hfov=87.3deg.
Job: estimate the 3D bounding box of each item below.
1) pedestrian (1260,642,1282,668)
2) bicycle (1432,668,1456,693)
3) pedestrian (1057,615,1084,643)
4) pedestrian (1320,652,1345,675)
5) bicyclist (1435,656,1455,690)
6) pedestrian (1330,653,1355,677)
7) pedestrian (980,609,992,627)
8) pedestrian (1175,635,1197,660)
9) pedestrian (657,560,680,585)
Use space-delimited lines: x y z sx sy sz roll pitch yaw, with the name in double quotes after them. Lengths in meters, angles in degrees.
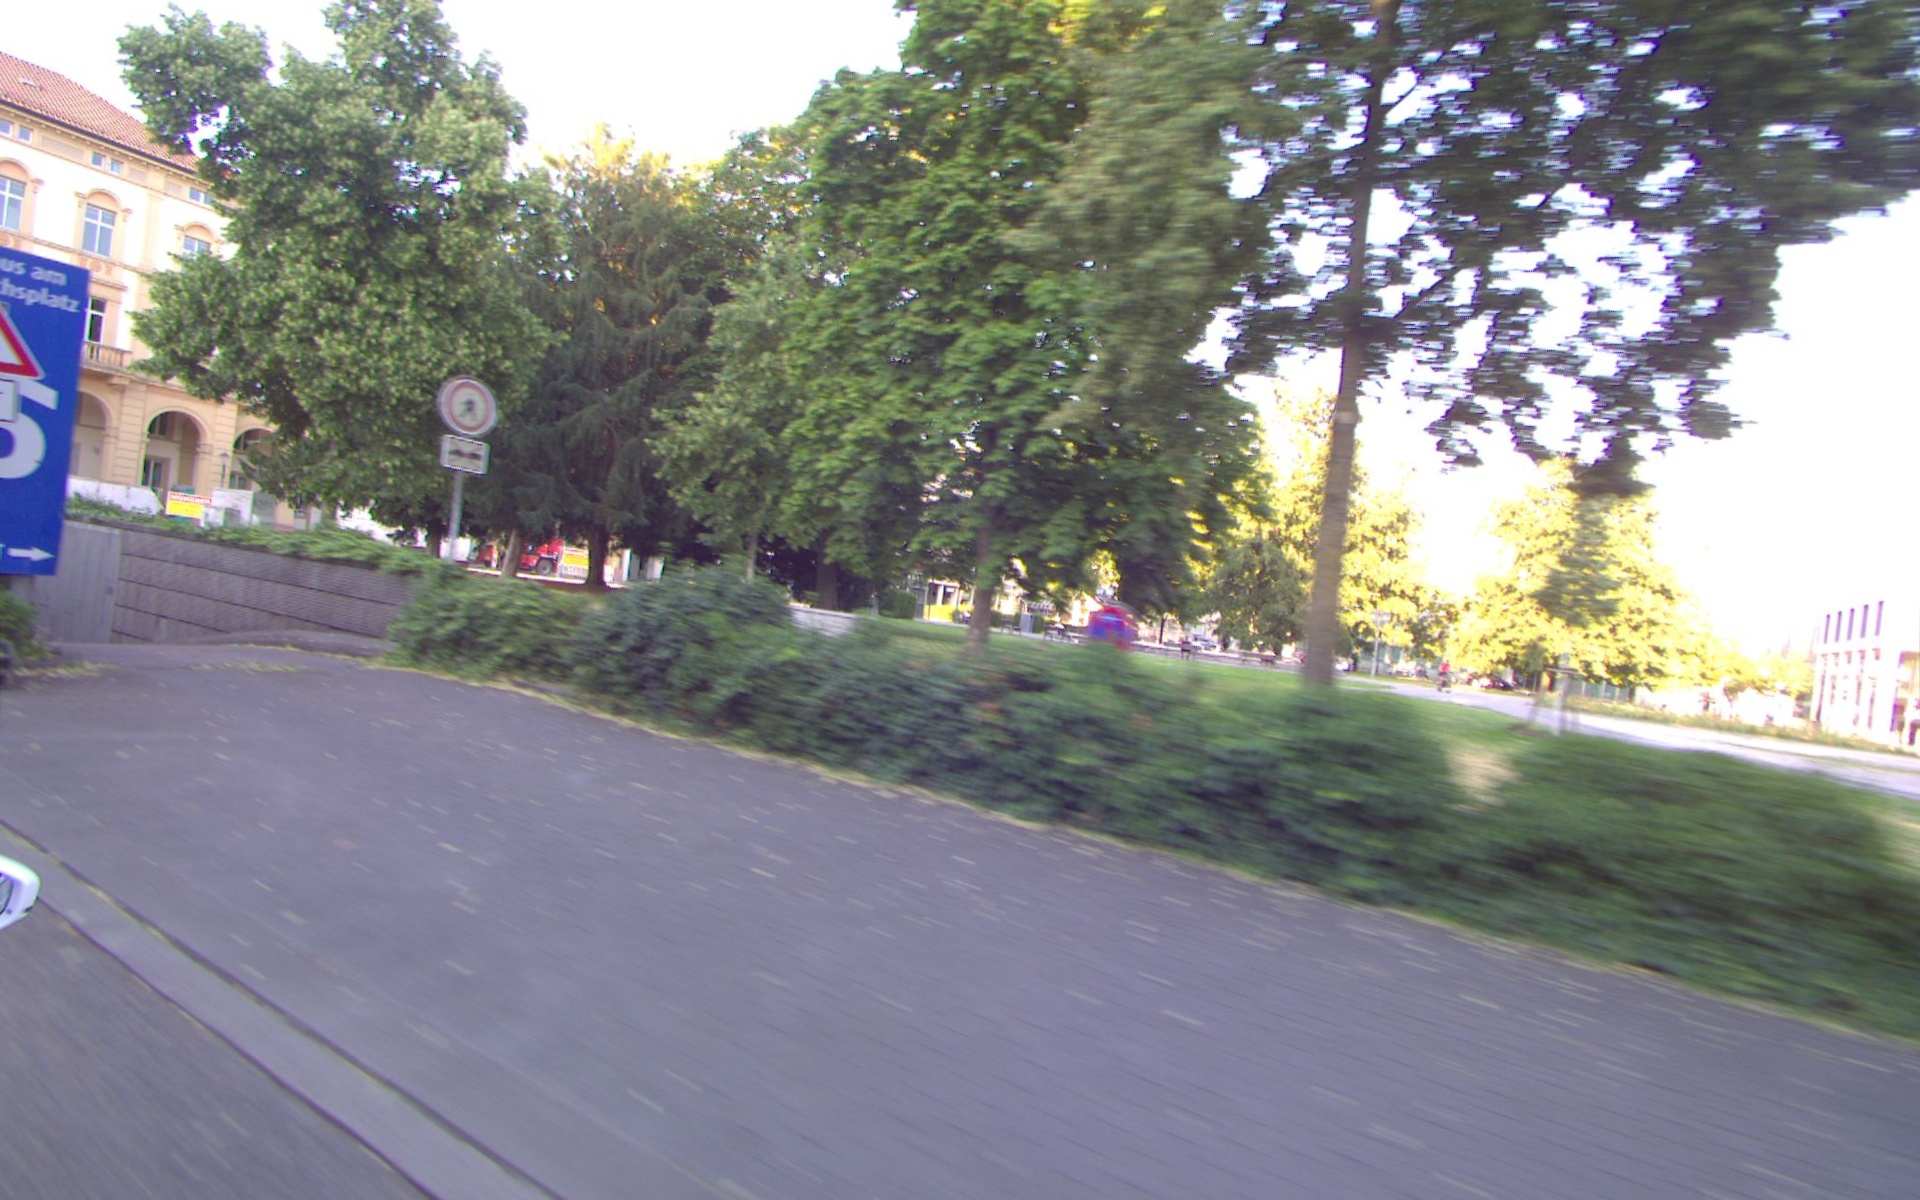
15.745 2.791 50.949 0.724 1.215 1.103 7 1 30 "pedestrian"
25.447 4.225 52.913 0.554 1.191 1.776 7 0 12 "bicycle"
5.995 1.577 54.578 1.061 1.308 0.834 7 1 -40 "pedestrian"
25.120 4.286 67.844 1.134 1.387 0.831 8 1 -21 "pedestrian"
25.539 3.845 52.995 0.646 1.653 0.677 7 1 12 "bicyclist"
25.458 4.334 66.958 1.134 1.387 0.831 8 1 -21 "pedestrian"
2.070 1.434 81.103 0.640 1.384 1.031 7 0 -8 "pedestrian"
11.527 2.428 51.292 0.653 1.215 1.103 7 1 30 "pedestrian"
-16.501 -1.564 56.923 0.911 1.267 0.708 7 0 27 "pedestrian"
